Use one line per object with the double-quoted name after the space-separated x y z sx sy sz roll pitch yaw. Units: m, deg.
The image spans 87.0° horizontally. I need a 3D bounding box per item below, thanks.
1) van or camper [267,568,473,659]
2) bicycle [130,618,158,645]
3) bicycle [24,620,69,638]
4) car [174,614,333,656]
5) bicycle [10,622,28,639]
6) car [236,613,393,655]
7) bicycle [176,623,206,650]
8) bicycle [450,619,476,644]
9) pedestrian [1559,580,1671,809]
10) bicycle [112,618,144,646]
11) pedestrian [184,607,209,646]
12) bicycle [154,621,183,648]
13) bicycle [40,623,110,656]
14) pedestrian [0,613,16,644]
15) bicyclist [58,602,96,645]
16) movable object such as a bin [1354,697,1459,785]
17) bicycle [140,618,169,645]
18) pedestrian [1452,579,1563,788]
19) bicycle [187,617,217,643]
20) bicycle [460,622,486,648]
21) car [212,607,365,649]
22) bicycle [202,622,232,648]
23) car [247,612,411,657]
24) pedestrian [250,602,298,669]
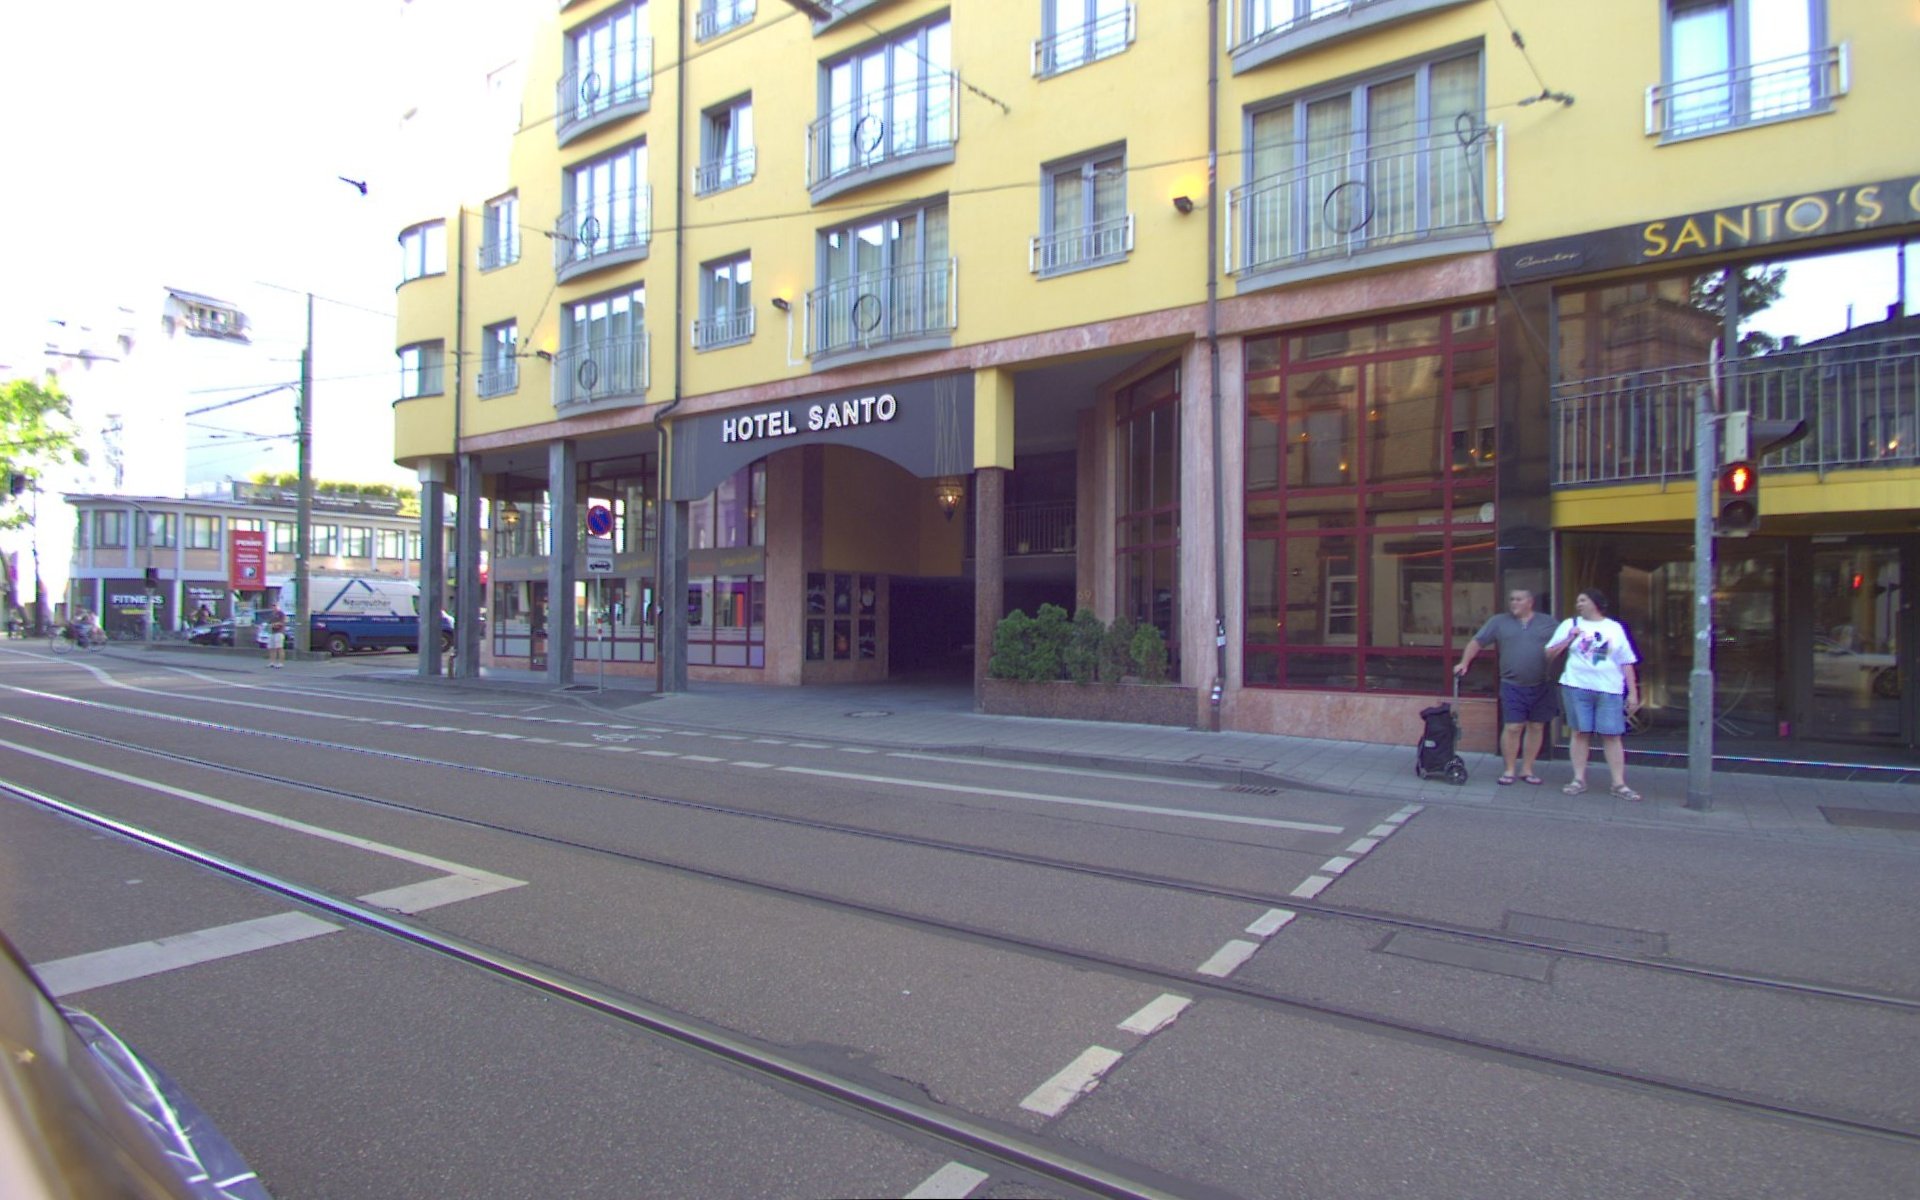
-19.874 0.509 34.379 2.310 2.849 5.557 -1 -2 35 "van or camper"
-36.408 1.389 45.168 1.827 1.196 0.436 -1 -2 34 "bicycle"
-51.447 1.614 57.008 0.389 0.919 1.826 -6 -3 39 "bicycle"
-28.141 1.393 40.478 1.875 1.595 4.852 -1 -2 35 "car"
-52.266 1.709 56.184 1.847 0.919 0.385 0 0 36 "bicycle"
-23.922 1.263 37.675 1.875 1.487 4.549 -1 -2 35 "car"
-34.692 1.651 45.626 1.825 1.196 0.444 -1 -2 32 "bicycle"
-23.605 1.502 48.049 1.831 1.196 0.427 -2 -3 42 "bicycle"
5.750 0.772 8.901 0.752 1.832 1.034 -1 2 33 "pedestrian"
-36.959 1.417 44.954 1.823 1.196 0.442 -1 -2 29 "bicycle"
-34.099 1.176 45.216 0.681 1.710 0.675 -1 -2 33 "pedestrian"
-35.933 1.551 45.950 1.825 1.196 0.439 -1 -2 32 "bicycle"
-33.253 1.486 38.054 0.679 1.179 1.816 2 -1 25 "bicycle"
-53.198 1.604 56.418 0.621 1.729 0.827 1 -2 -28 "pedestrian"
-33.223 0.890 38.079 0.687 1.561 0.830 2 -1 25 "bicyclist"
4.268 1.334 9.681 0.839 0.721 0.380 -1 2 36 "movable object such as a bin"
-36.311 1.432 45.620 1.825 1.196 0.444 -1 -2 32 "bicycle"
5.033 0.727 9.294 0.798 1.784 0.741 -1 2 34 "pedestrian"
-34.423 1.358 45.930 1.825 1.196 0.444 -1 -2 32 "bicycle"
-23.317 1.665 48.442 1.831 1.196 0.427 -2 -3 42 "bicycle"
-25.799 1.086 39.008 1.875 1.487 4.549 -1 -2 35 "car"
-34.131 1.606 46.501 1.825 1.196 0.444 -1 -2 32 "bicycle"
-22.157 1.222 35.693 1.875 1.487 4.549 -1 -2 35 "car"
-19.322 1.006 28.522 0.907 1.846 0.826 -1 -2 34 "pedestrian"
